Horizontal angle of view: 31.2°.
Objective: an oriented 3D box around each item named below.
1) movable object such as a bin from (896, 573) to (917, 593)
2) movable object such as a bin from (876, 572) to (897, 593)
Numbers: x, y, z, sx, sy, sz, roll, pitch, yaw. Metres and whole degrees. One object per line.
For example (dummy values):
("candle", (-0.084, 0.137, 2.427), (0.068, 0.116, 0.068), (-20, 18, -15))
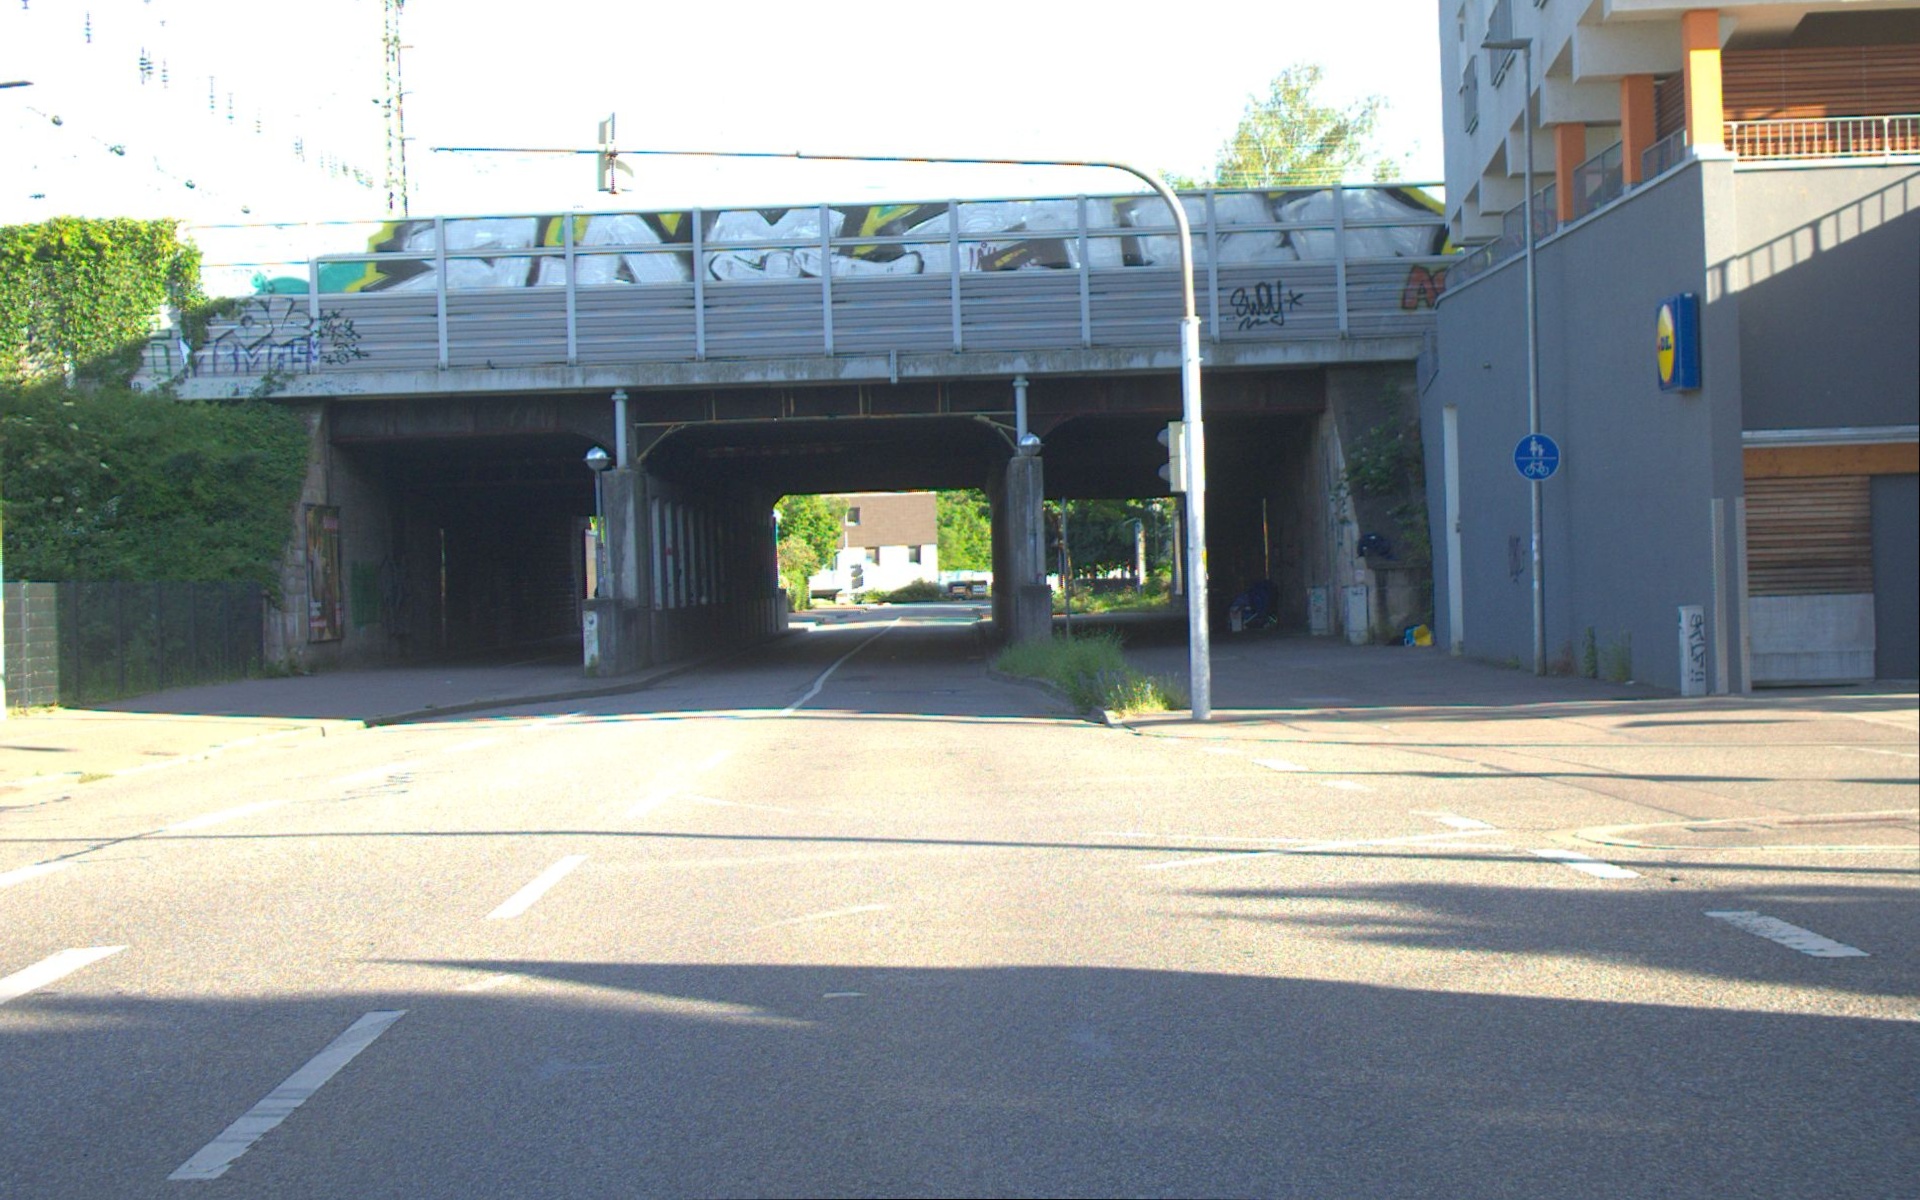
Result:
("movable object such as a bin", (-3.702, -1.185, 239.091), (1.364, 1.413, 1.066), (0, -1, -7))
("movable object such as a bin", (-5.089, -1.194, 238.917), (1.364, 1.413, 1.066), (0, -1, -7))
